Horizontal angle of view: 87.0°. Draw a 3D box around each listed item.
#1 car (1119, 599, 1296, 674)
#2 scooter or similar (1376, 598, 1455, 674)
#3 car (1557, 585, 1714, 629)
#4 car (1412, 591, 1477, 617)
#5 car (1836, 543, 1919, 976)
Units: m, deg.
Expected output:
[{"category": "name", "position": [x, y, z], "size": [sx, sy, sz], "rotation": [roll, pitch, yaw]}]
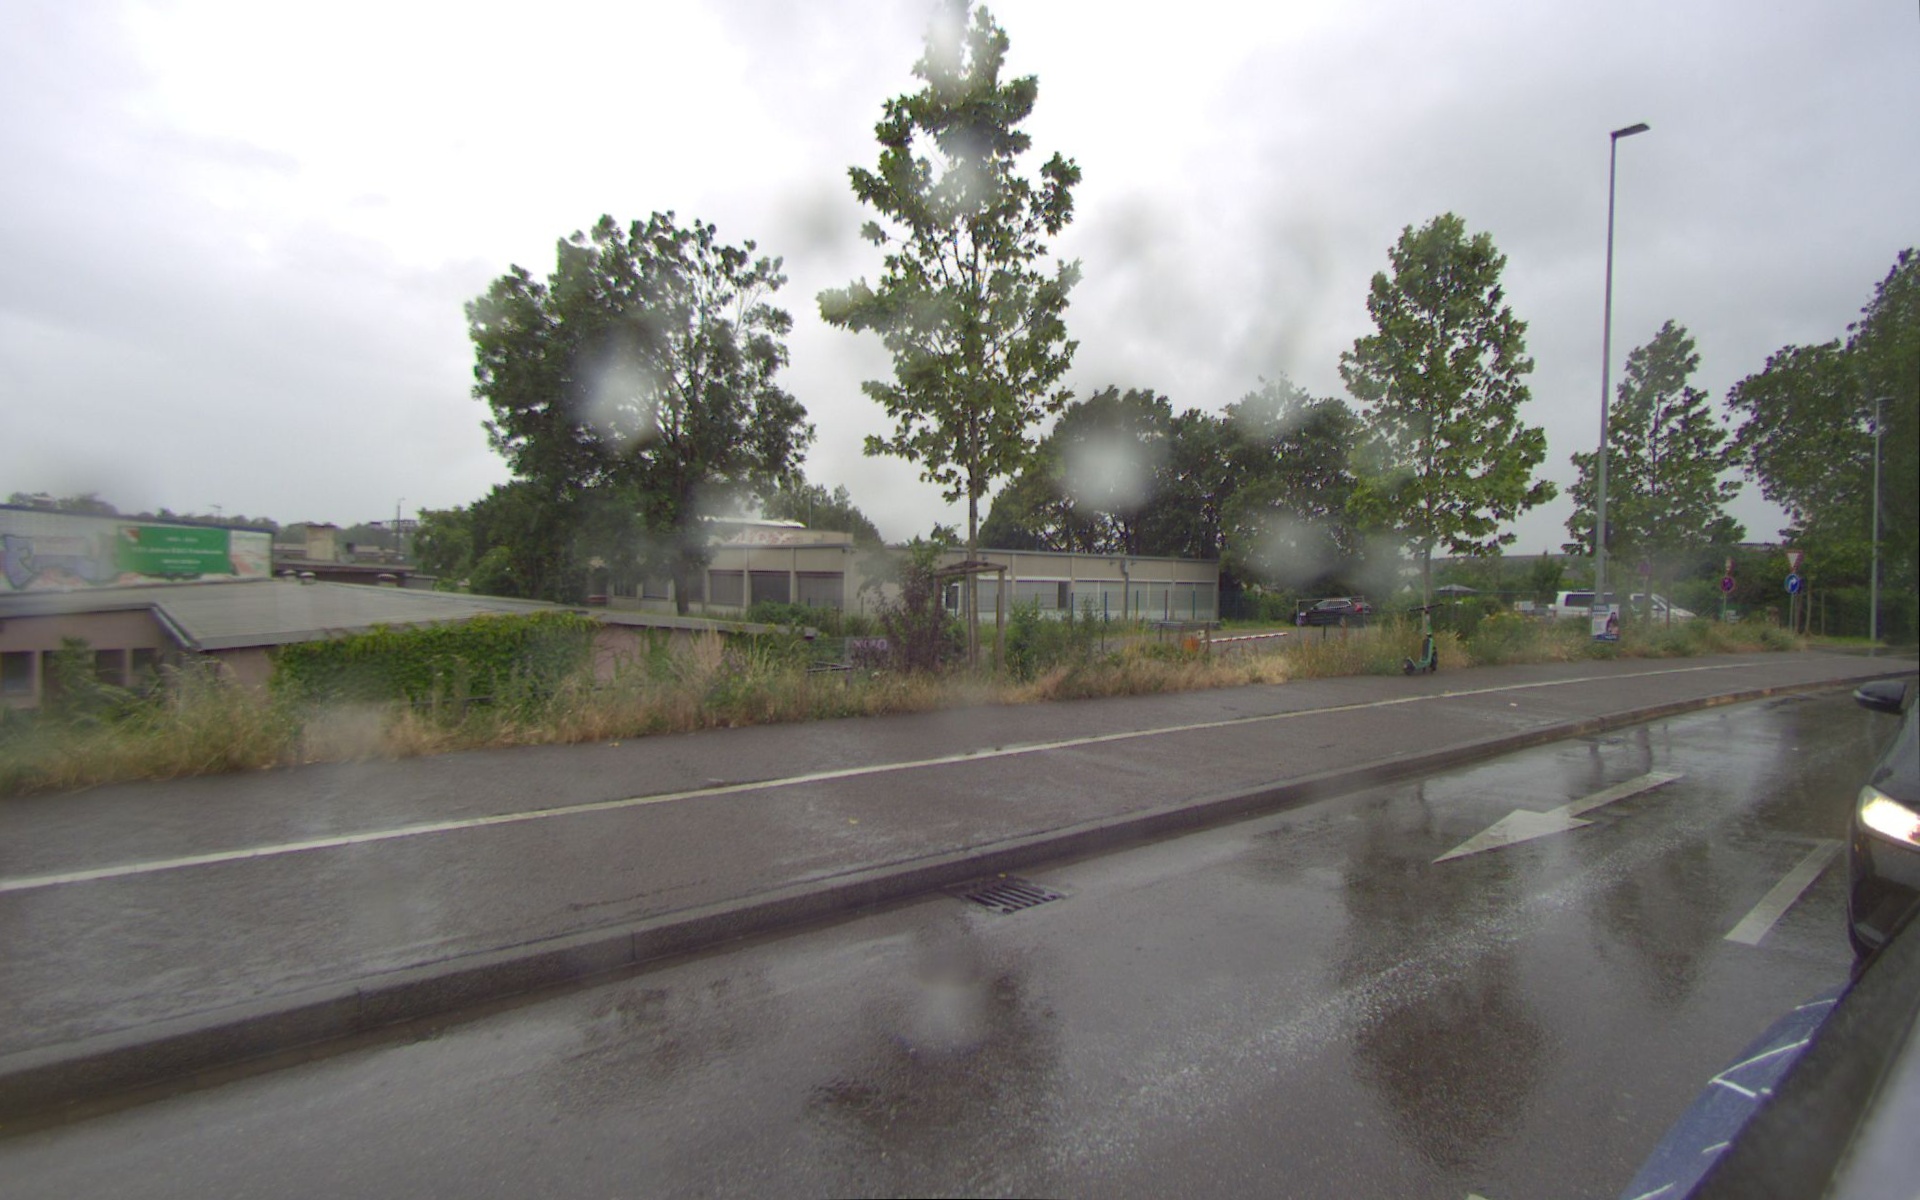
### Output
[{"category": "car", "position": [4.692, 0.644, 19.498], "size": [1.319, 1.304, 3.246], "rotation": [0, 0, -35]}, {"category": "scooter or similar", "position": [7.674, 0.586, 17.014], "size": [1.877, 1.214, 0.367], "rotation": [0, 0, -38]}, {"category": "car", "position": [28.205, 0.267, 42.413], "size": [1.972, 1.747, 5.168], "rotation": [0, 0, -42]}, {"category": "car", "position": [30.938, 0.259, 64.690], "size": [1.319, 1.604, 3.555], "rotation": [0, 0, -35]}, {"category": "car", "position": [5.574, 0.616, 4.438], "size": [4.090, 1.601, 1.759], "rotation": [1, 0, -36]}]
